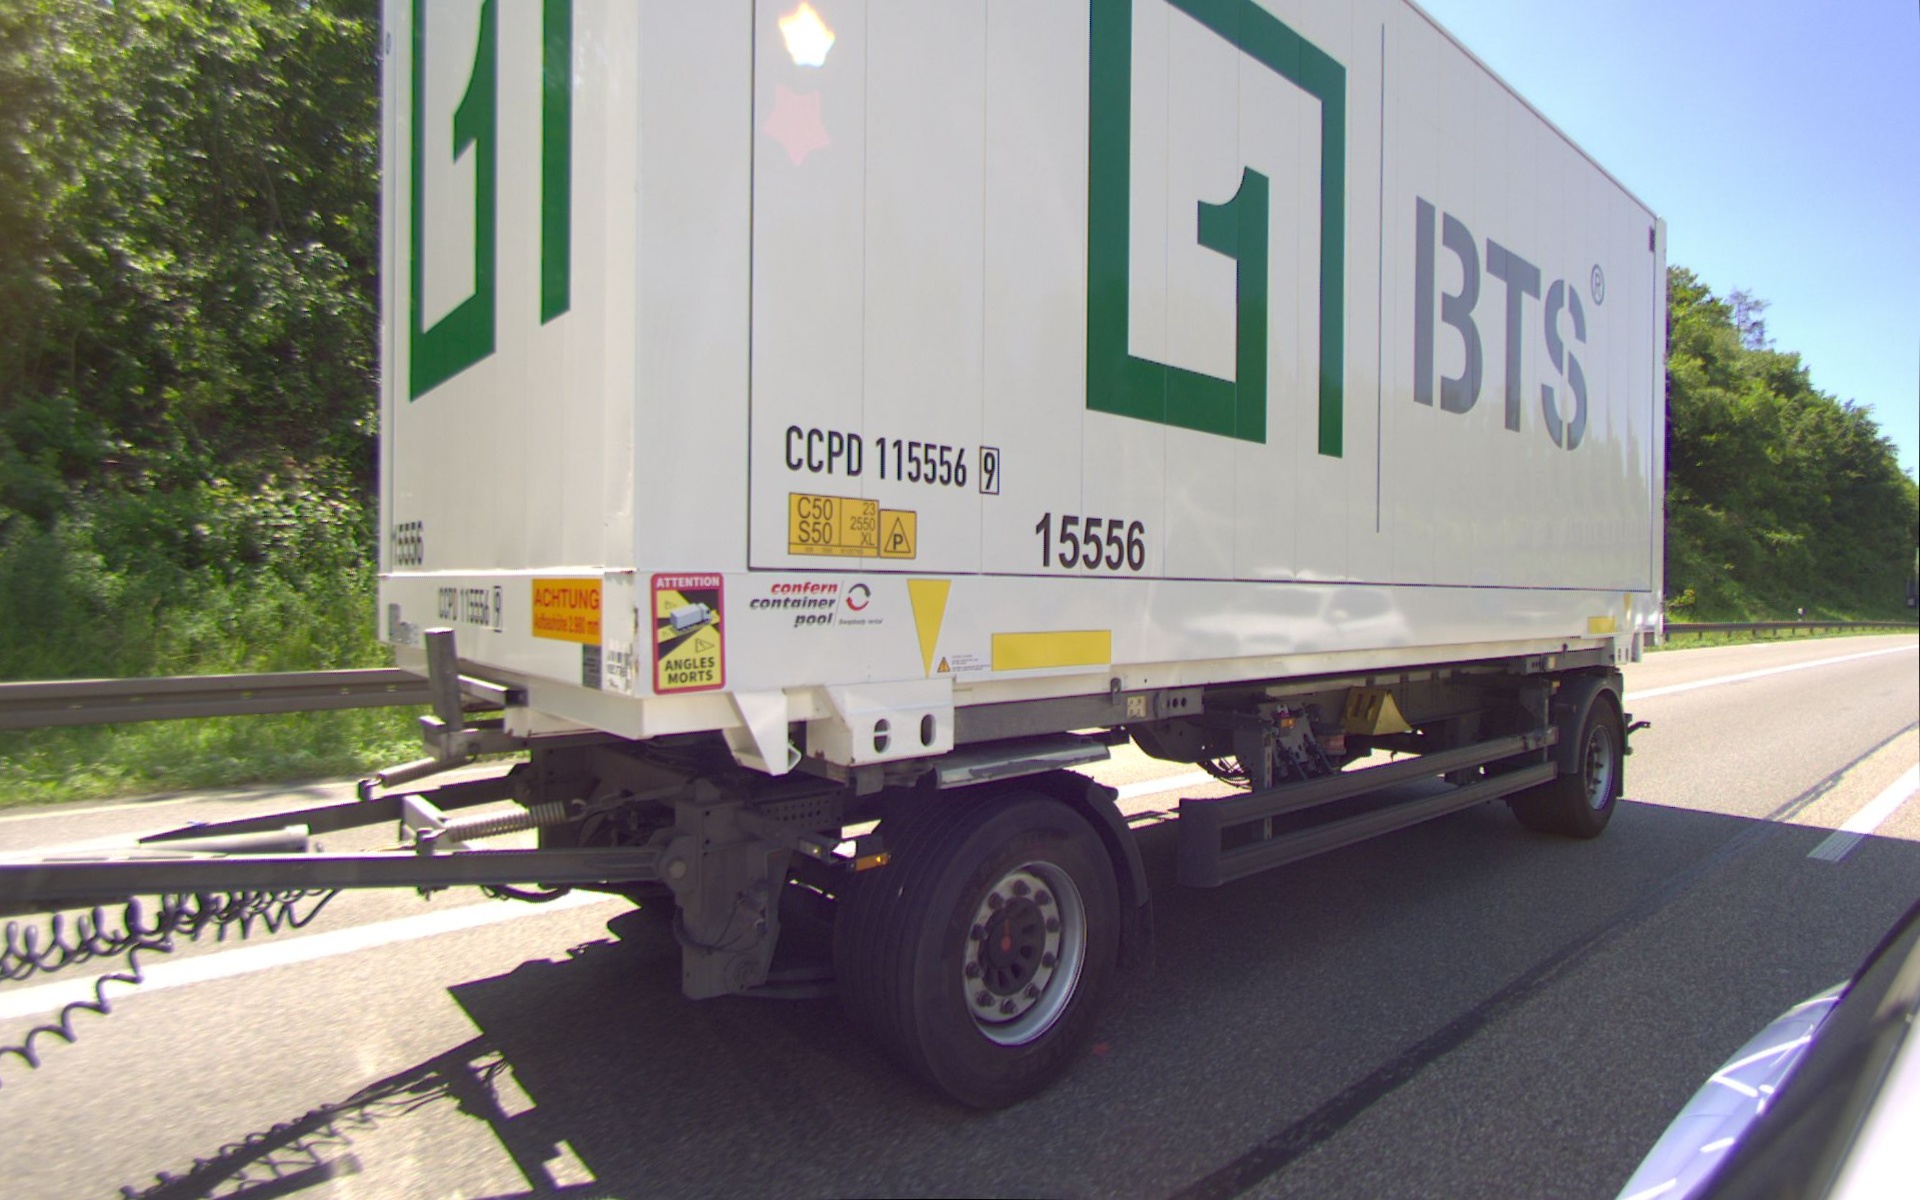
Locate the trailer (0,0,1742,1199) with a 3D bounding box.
[{"bbox_3d":[1.488,-0.772,5.637,9.888,4.229,2.684,1,-1,-41],"label":"trailer"}]
